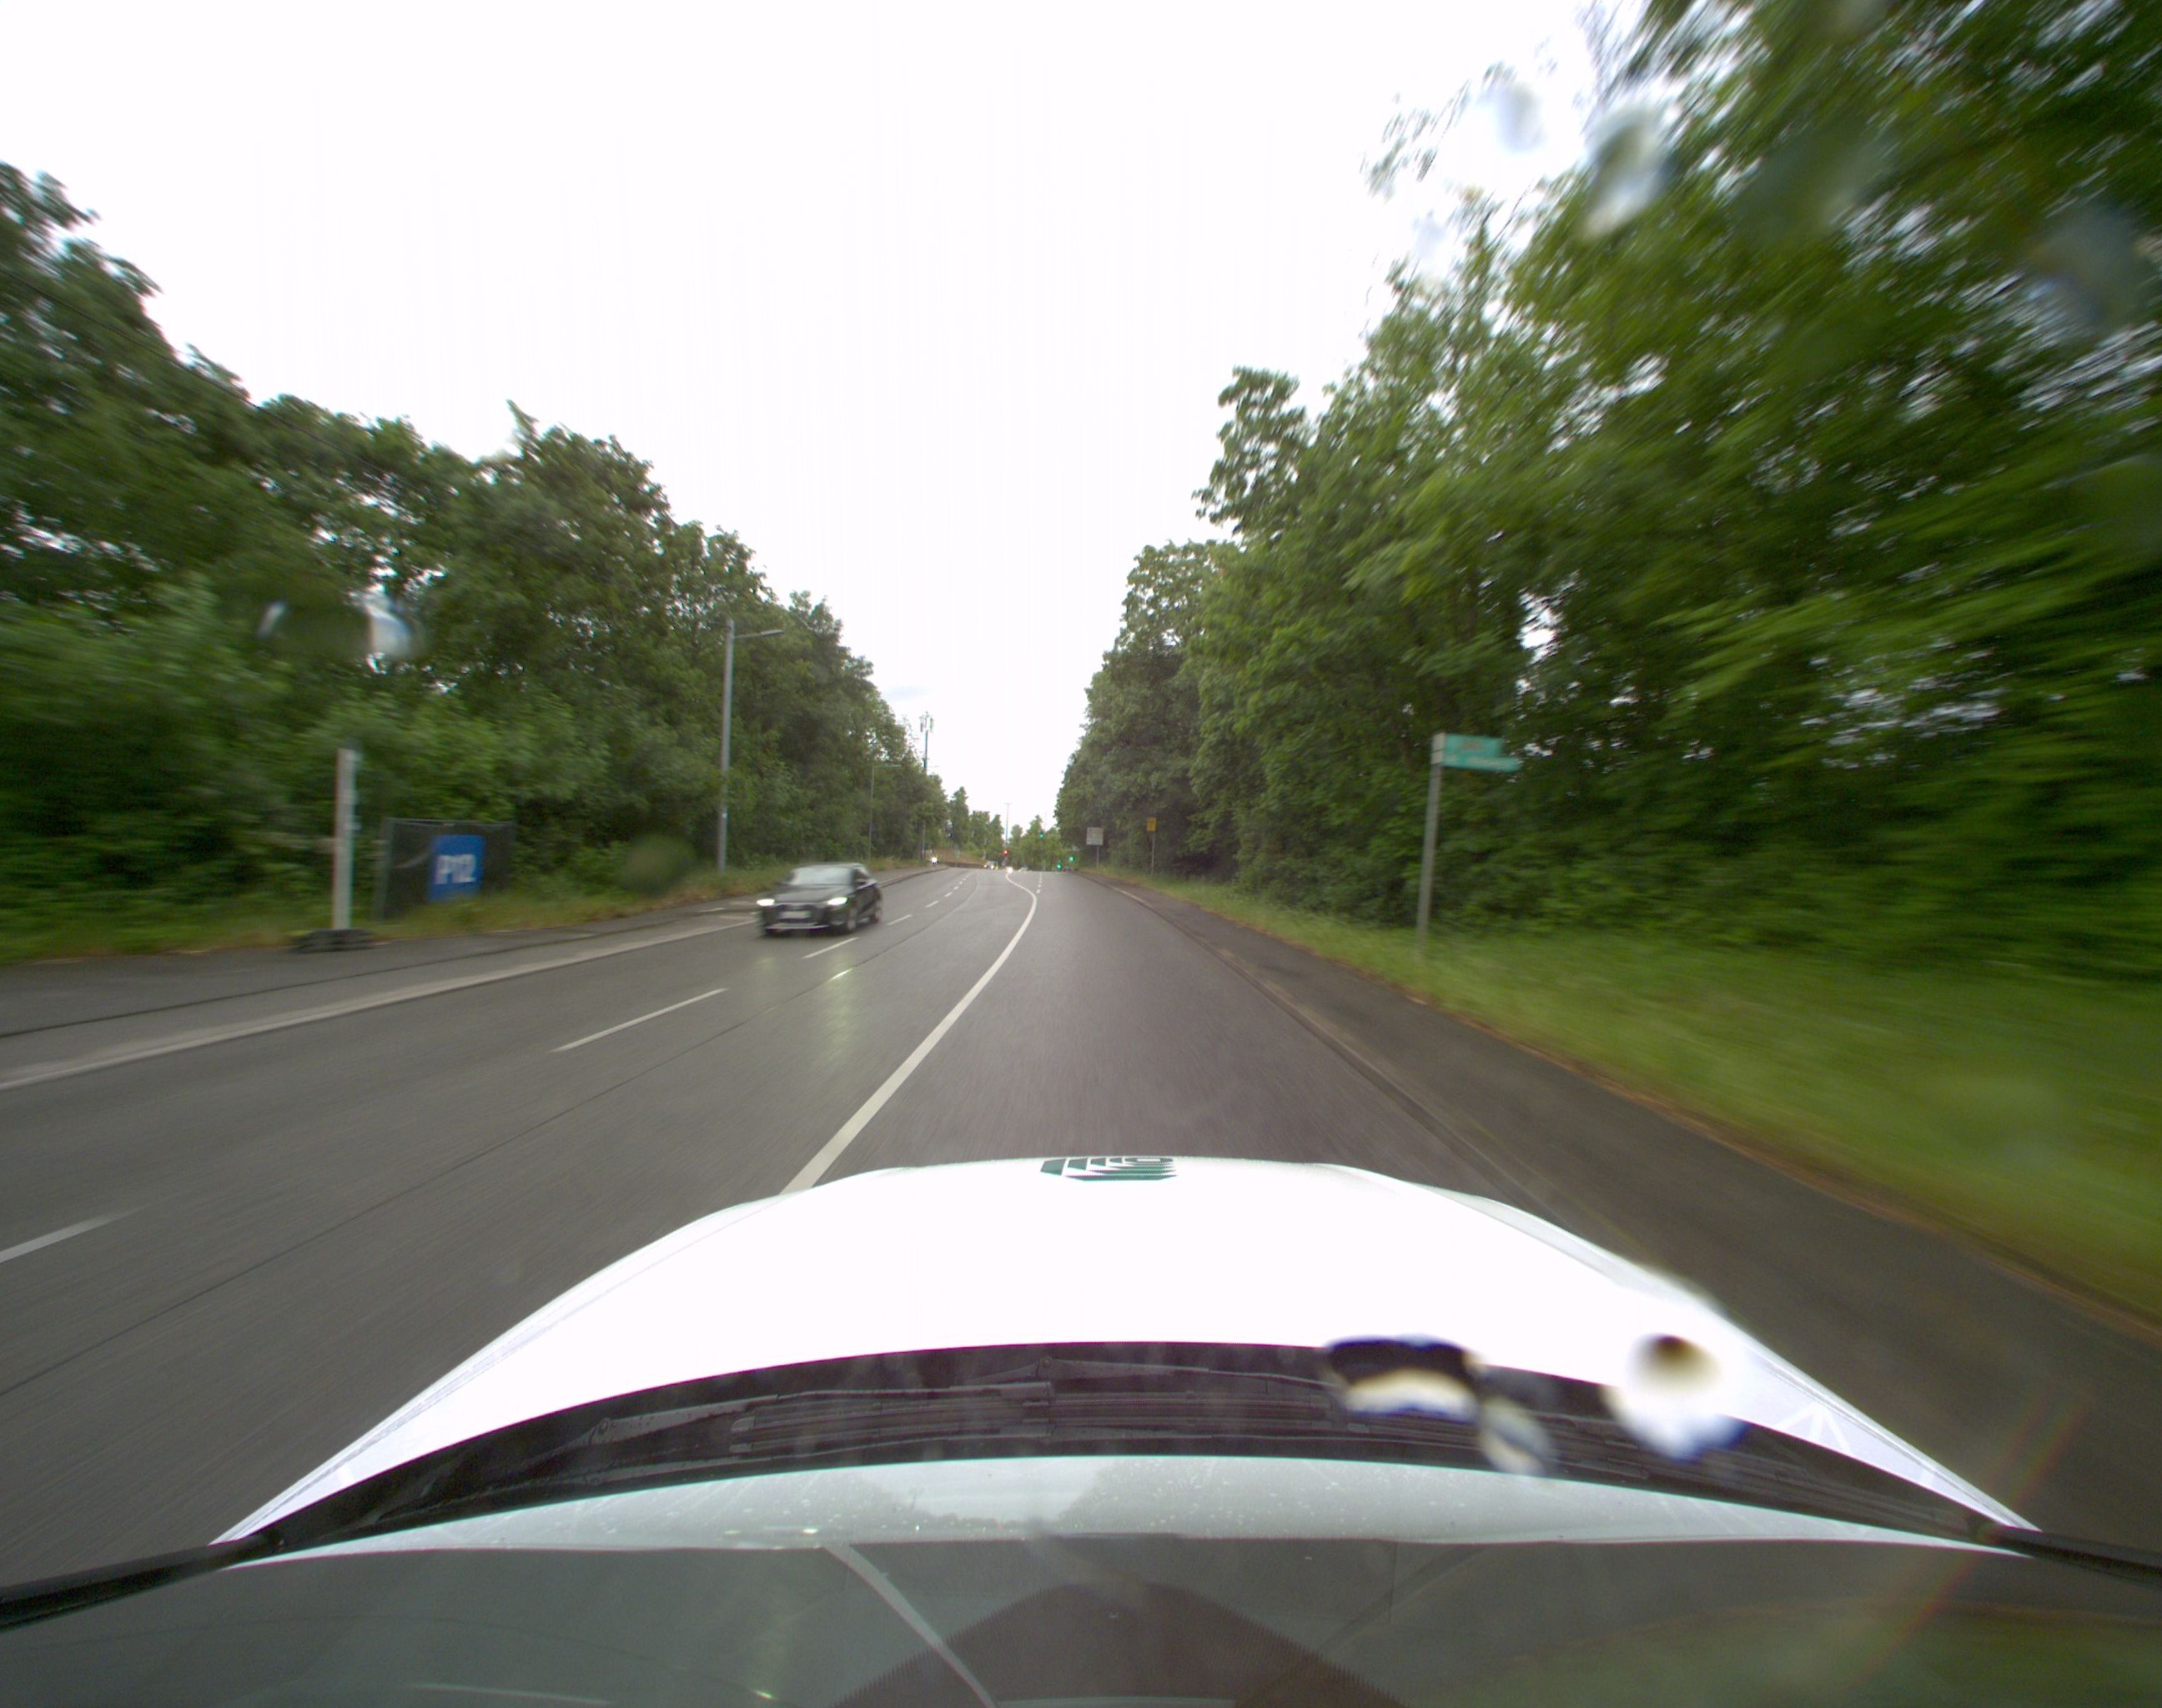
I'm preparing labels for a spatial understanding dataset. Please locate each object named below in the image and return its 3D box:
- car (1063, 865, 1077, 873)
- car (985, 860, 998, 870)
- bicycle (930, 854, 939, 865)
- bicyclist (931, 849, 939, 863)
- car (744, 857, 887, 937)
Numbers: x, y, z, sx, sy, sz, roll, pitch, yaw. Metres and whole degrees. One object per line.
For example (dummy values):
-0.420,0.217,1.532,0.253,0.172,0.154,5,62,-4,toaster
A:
-2.047,2.875,159.312,1.923,1.498,4.330,0,0,10,car
-17.313,2.224,157.677,1.986,1.849,4.001,0,-2,2,car
-16.796,0.667,93.691,0.703,1.242,2.162,0,0,-2,bicycle
-16.786,0.229,93.699,0.703,1.644,0.950,0,0,-2,bicyclist
-5.539,0.825,17.569,1.931,1.498,4.311,0,0,-4,car
